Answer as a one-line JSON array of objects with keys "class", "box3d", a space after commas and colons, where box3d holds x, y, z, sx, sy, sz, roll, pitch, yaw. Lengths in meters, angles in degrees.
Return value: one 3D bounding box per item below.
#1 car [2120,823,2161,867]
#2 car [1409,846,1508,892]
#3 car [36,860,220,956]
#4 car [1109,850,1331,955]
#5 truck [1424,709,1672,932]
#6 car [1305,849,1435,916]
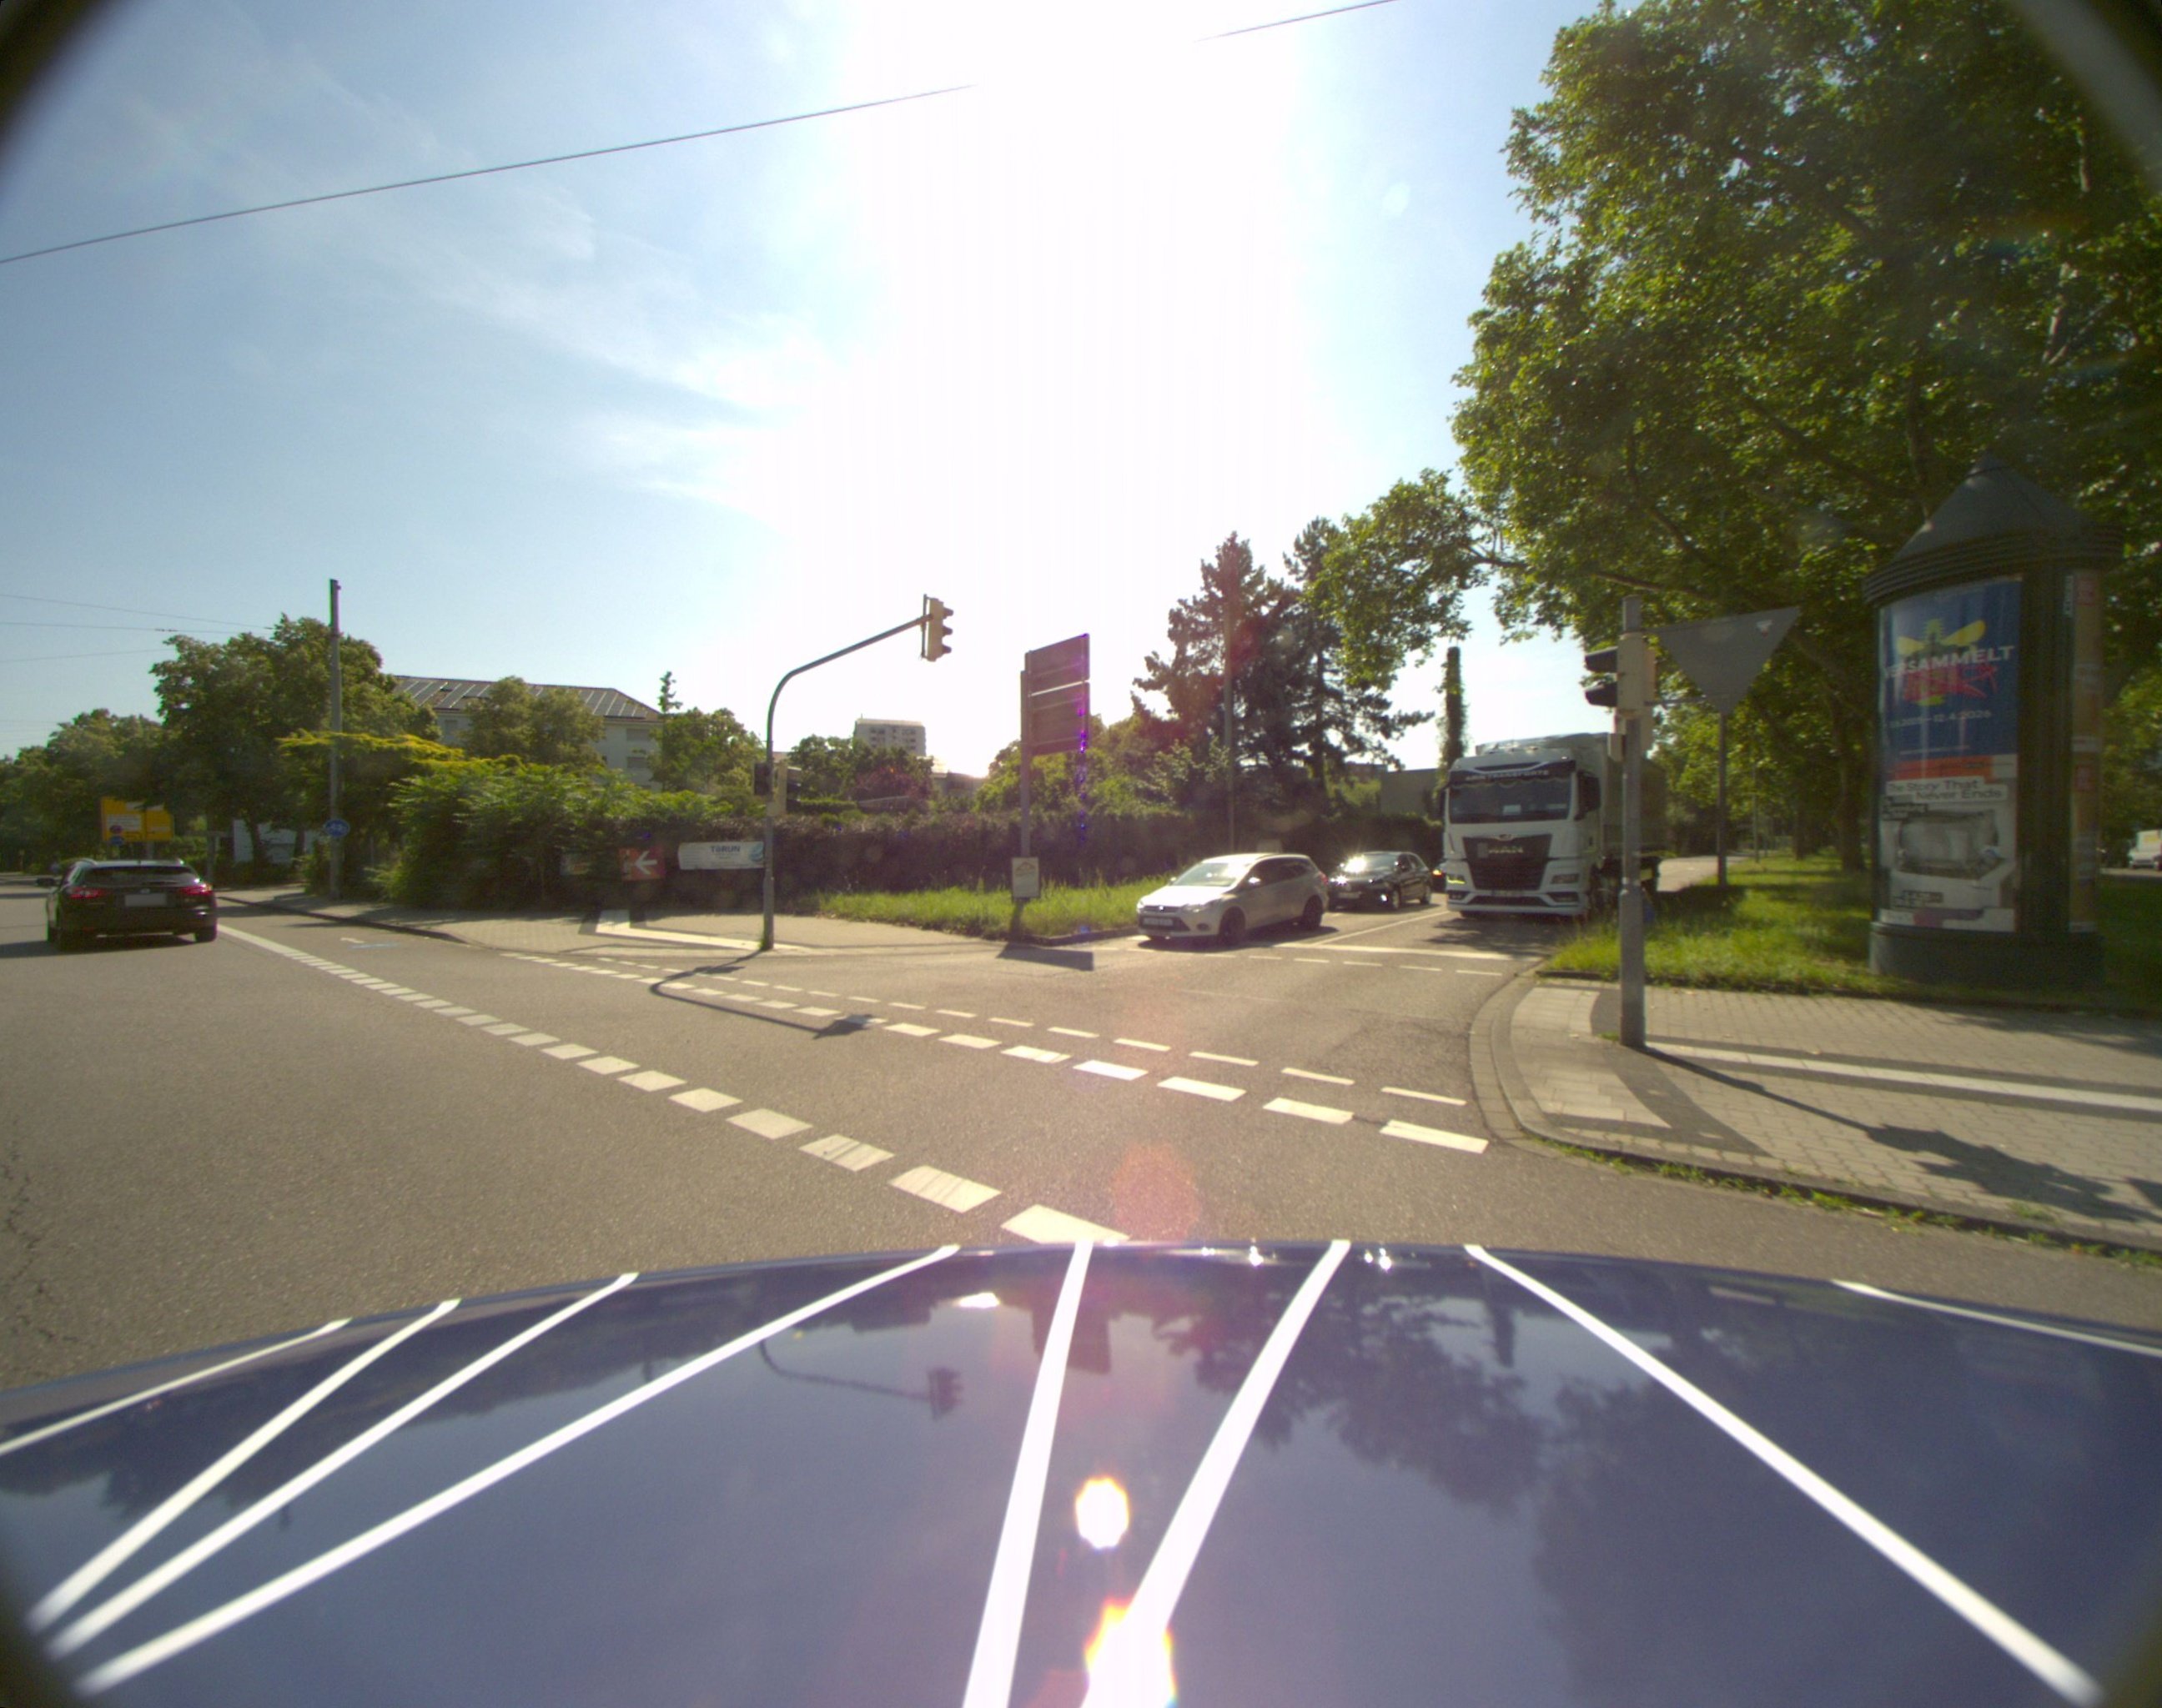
[{"class": "car", "box3d": [58.839, -0.519, 41.173, 1.994, 2.303, 4.668, 0, 1, 41]}, {"class": "car", "box3d": [13.037, 0.482, 26.108, 1.751, 1.361, 4.380, -1, 1, 44]}, {"class": "car", "box3d": [-18.210, 0.906, 14.470, 4.492, 1.573, 1.760, 0, 0, 33]}, {"class": "car", "box3d": [2.654, 0.746, 13.765, 1.751, 1.502, 4.406, -1, 1, 44]}, {"class": "truck", "box3d": [12.889, -0.678, 19.845, 2.846, 3.984, 14.333, 1, 1, 42]}, {"class": "car", "box3d": [7.258, 0.649, 18.925, 1.630, 1.425, 3.746, -1, 1, 44]}]
